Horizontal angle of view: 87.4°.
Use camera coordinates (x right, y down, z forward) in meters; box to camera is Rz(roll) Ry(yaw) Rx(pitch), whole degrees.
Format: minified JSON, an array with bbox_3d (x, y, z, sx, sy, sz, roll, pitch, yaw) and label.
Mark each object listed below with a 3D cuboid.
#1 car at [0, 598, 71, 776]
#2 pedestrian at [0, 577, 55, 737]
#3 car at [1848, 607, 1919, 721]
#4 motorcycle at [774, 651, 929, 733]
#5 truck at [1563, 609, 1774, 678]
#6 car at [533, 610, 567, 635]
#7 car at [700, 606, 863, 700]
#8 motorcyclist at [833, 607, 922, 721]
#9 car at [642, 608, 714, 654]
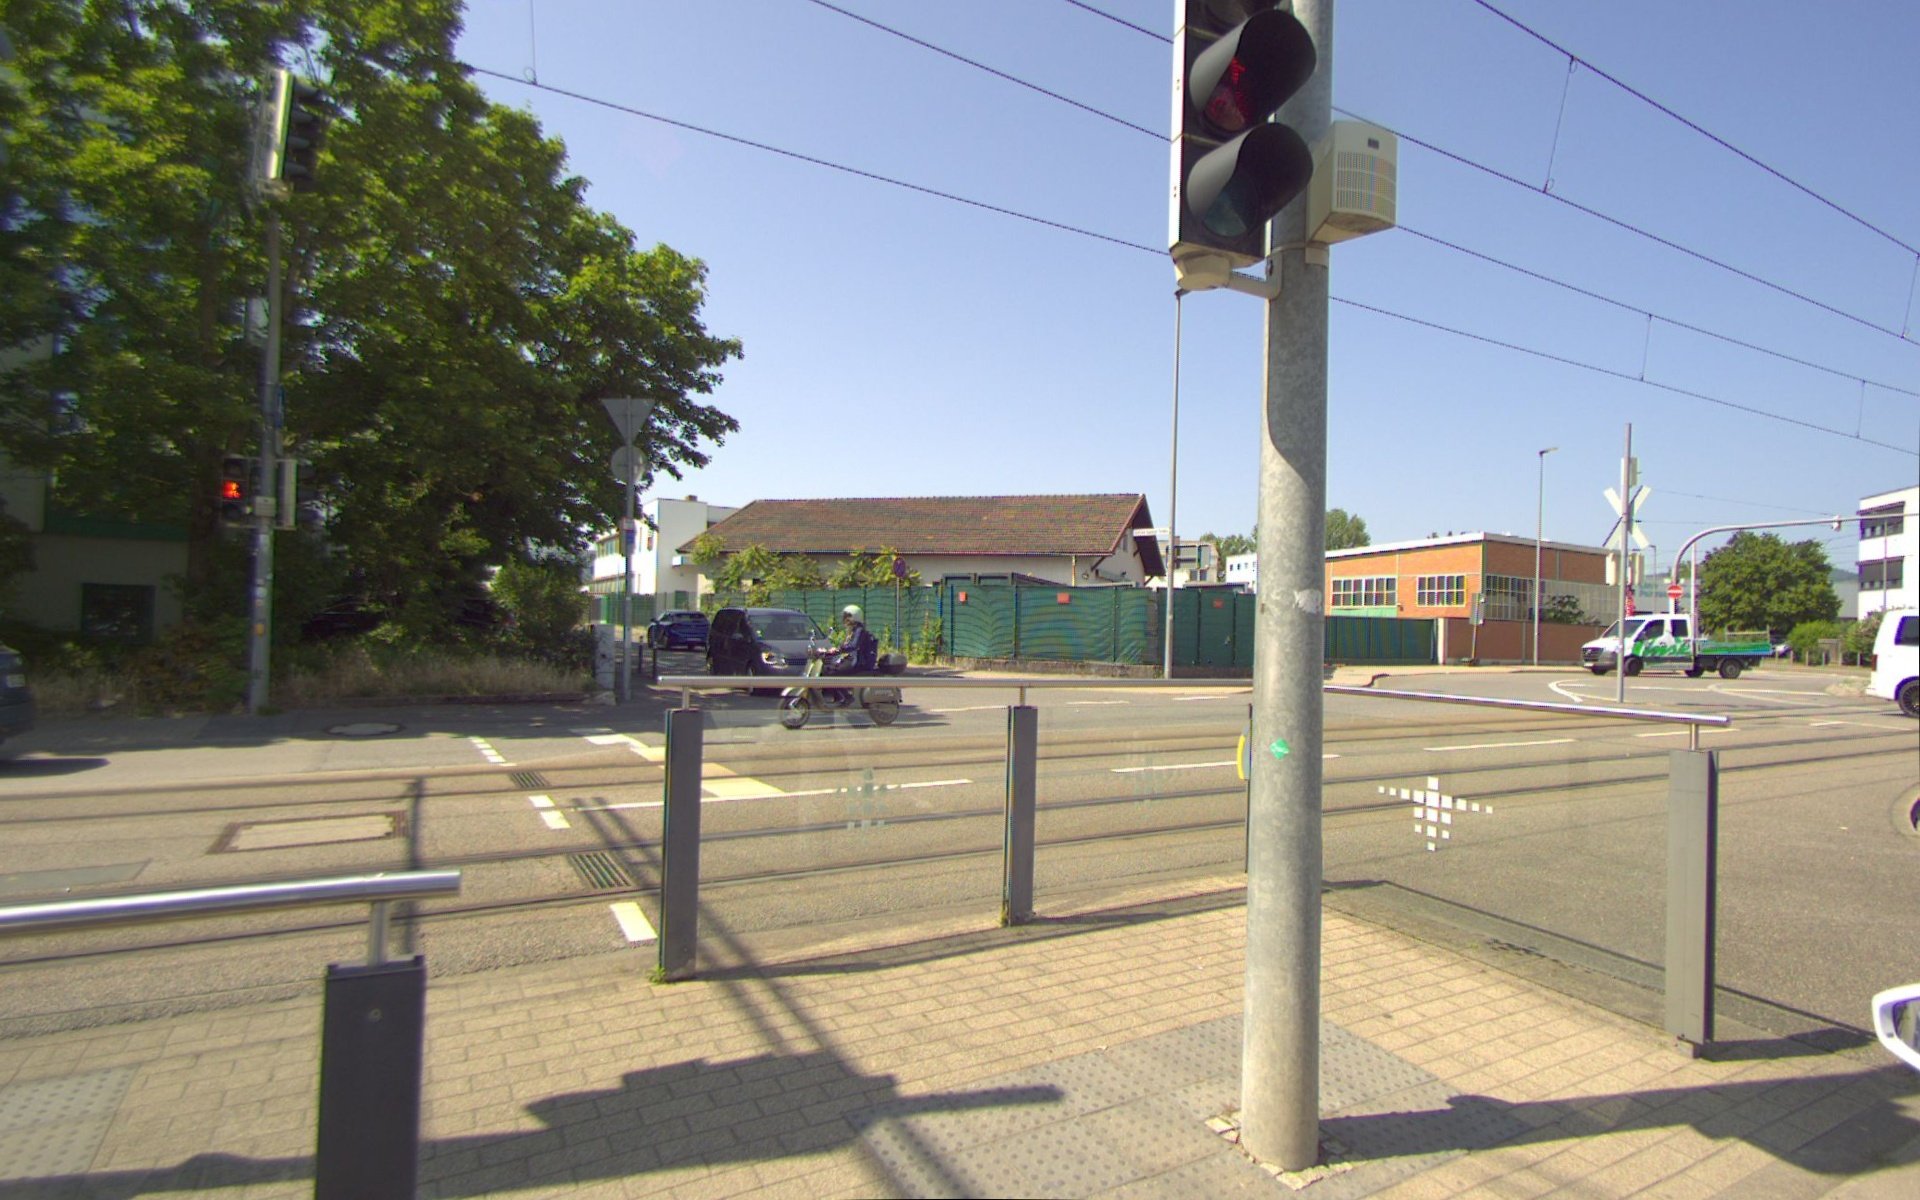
[{"bbox_3d":[-10.264,0.690,7.913,4.543,1.461,1.897,2,-3,-31],"label":"car"},{"bbox_3d":[-10.652,0.587,10.800,1.147,1.692,0.881,2,-1,-31],"label":"pedestrian"},{"bbox_3d":[18.541,1.148,16.949,2.134,2.040,5.002,1,-1,-16],"label":"car"},{"bbox_3d":[-1.470,1.219,13.653,1.938,1.024,0.820,2,-1,-26],"label":"motorcycle"},{"bbox_3d":[26.290,1.593,37.455,6.262,2.368,2.210,1,-1,1],"label":"truck"},{"bbox_3d":[-28.304,1.530,69.301,1.784,1.622,3.971,2,-1,-28],"label":"car"},{"bbox_3d":[-3.699,0.983,20.181,1.910,1.604,4.158,2,0,-30],"label":"car"},{"bbox_3d":[-1.140,0.865,13.808,0.950,1.495,0.832,2,-1,-27],"label":"motorcyclist"},{"bbox_3d":[-10.235,1.113,36.289,1.783,1.557,4.135,2,-2,-26],"label":"car"}]
